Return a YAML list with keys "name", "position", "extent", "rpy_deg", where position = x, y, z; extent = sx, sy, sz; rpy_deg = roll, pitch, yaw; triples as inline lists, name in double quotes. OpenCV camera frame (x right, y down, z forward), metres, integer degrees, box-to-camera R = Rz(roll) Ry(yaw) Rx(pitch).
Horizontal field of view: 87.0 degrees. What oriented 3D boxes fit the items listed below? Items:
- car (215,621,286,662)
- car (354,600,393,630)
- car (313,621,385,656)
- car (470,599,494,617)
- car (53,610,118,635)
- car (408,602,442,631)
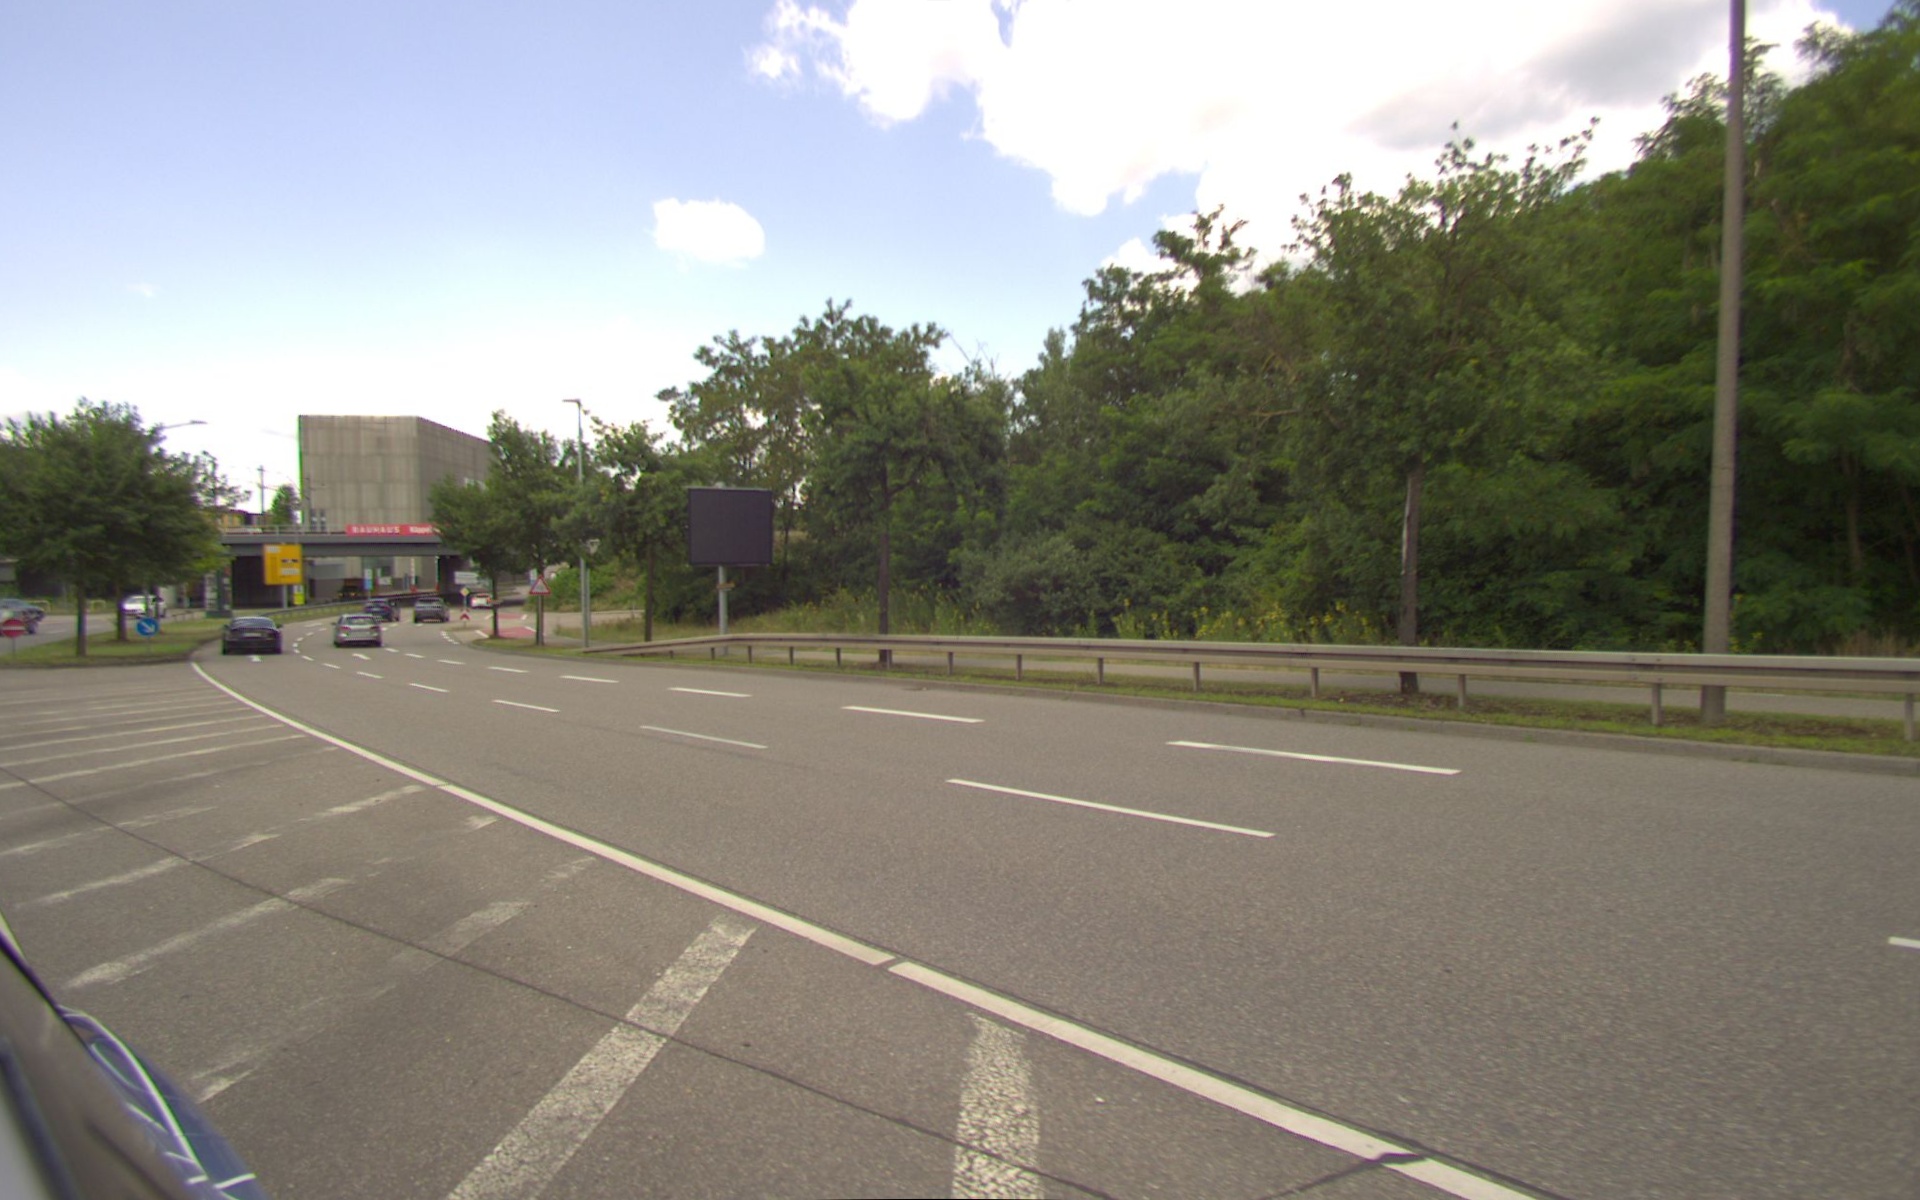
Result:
- name: "car"
  position: [-26.618, 1.535, 38.113]
  extent: [1.877, 1.374, 4.589]
  rpy_deg: [1, -1, -31]
- name: "car"
  position: [-41.959, 1.057, 72.480]
  extent: [1.965, 2.029, 4.833]
  rpy_deg: [-2, 0, -25]
- name: "car"
  position: [-26.937, 1.646, 44.552]
  extent: [1.969, 1.407, 4.706]
  rpy_deg: [-1, 0, -41]
- name: "car"
  position: [-45.910, 0.767, 97.112]
  extent: [1.965, 1.543, 4.346]
  rpy_deg: [1, 1, -26]
- name: "car"
  position: [-60.961, 1.572, 70.640]
  extent: [1.687, 1.507, 3.657]
  rpy_deg: [0, 2, -8]
- name: "car"
  position: [-37.629, 1.114, 71.283]
  extent: [1.965, 1.875, 4.730]
  rpy_deg: [-1, 1, -26]
